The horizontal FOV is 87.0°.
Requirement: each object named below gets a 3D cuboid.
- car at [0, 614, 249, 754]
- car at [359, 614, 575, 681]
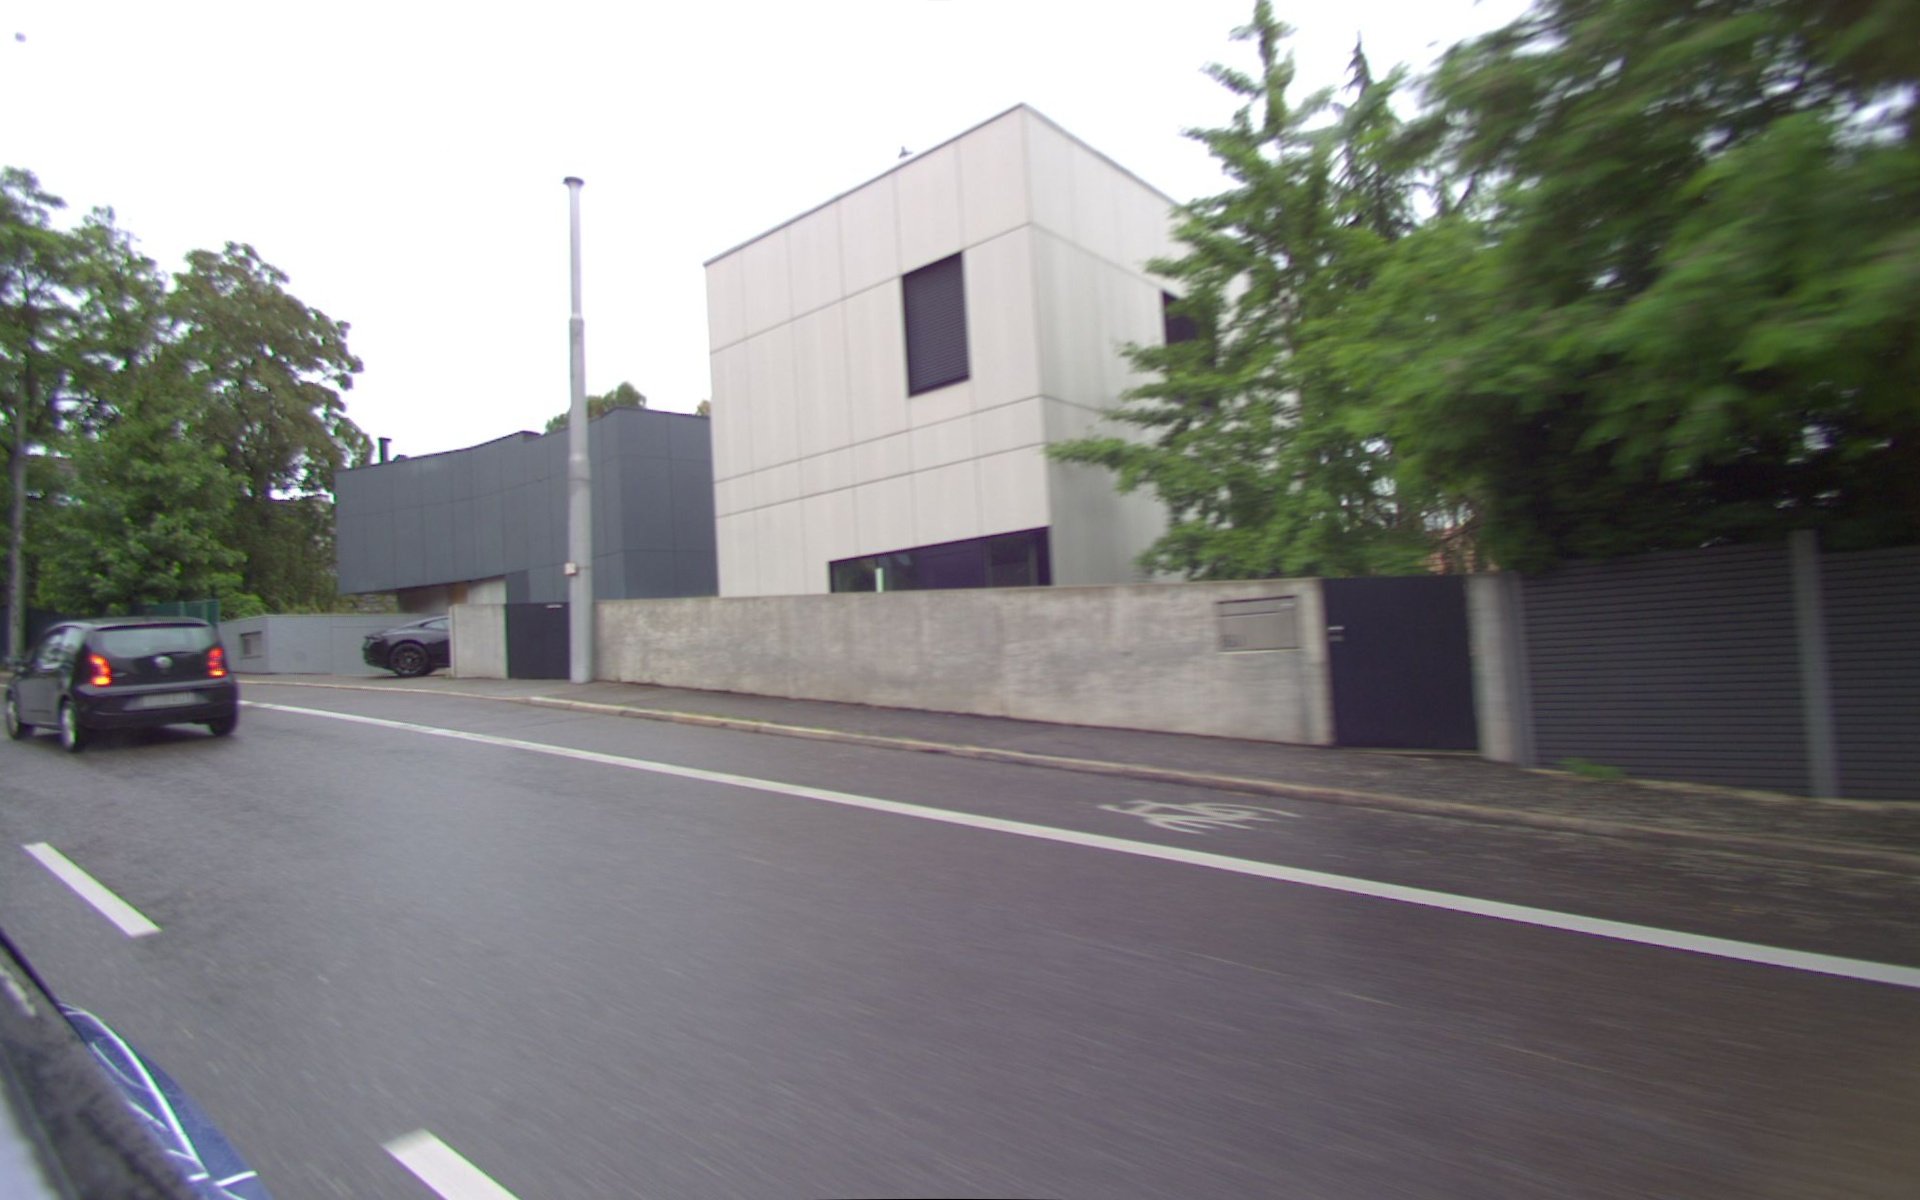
[{"bbox_3d":[-10.543,0.963,12.574,3.795,1.431,1.634,-2,0,36],"label":"car"},{"bbox_3d":[-10.529,0.992,21.923,3.932,1.311,1.903,-1,-2,-16],"label":"car"}]
